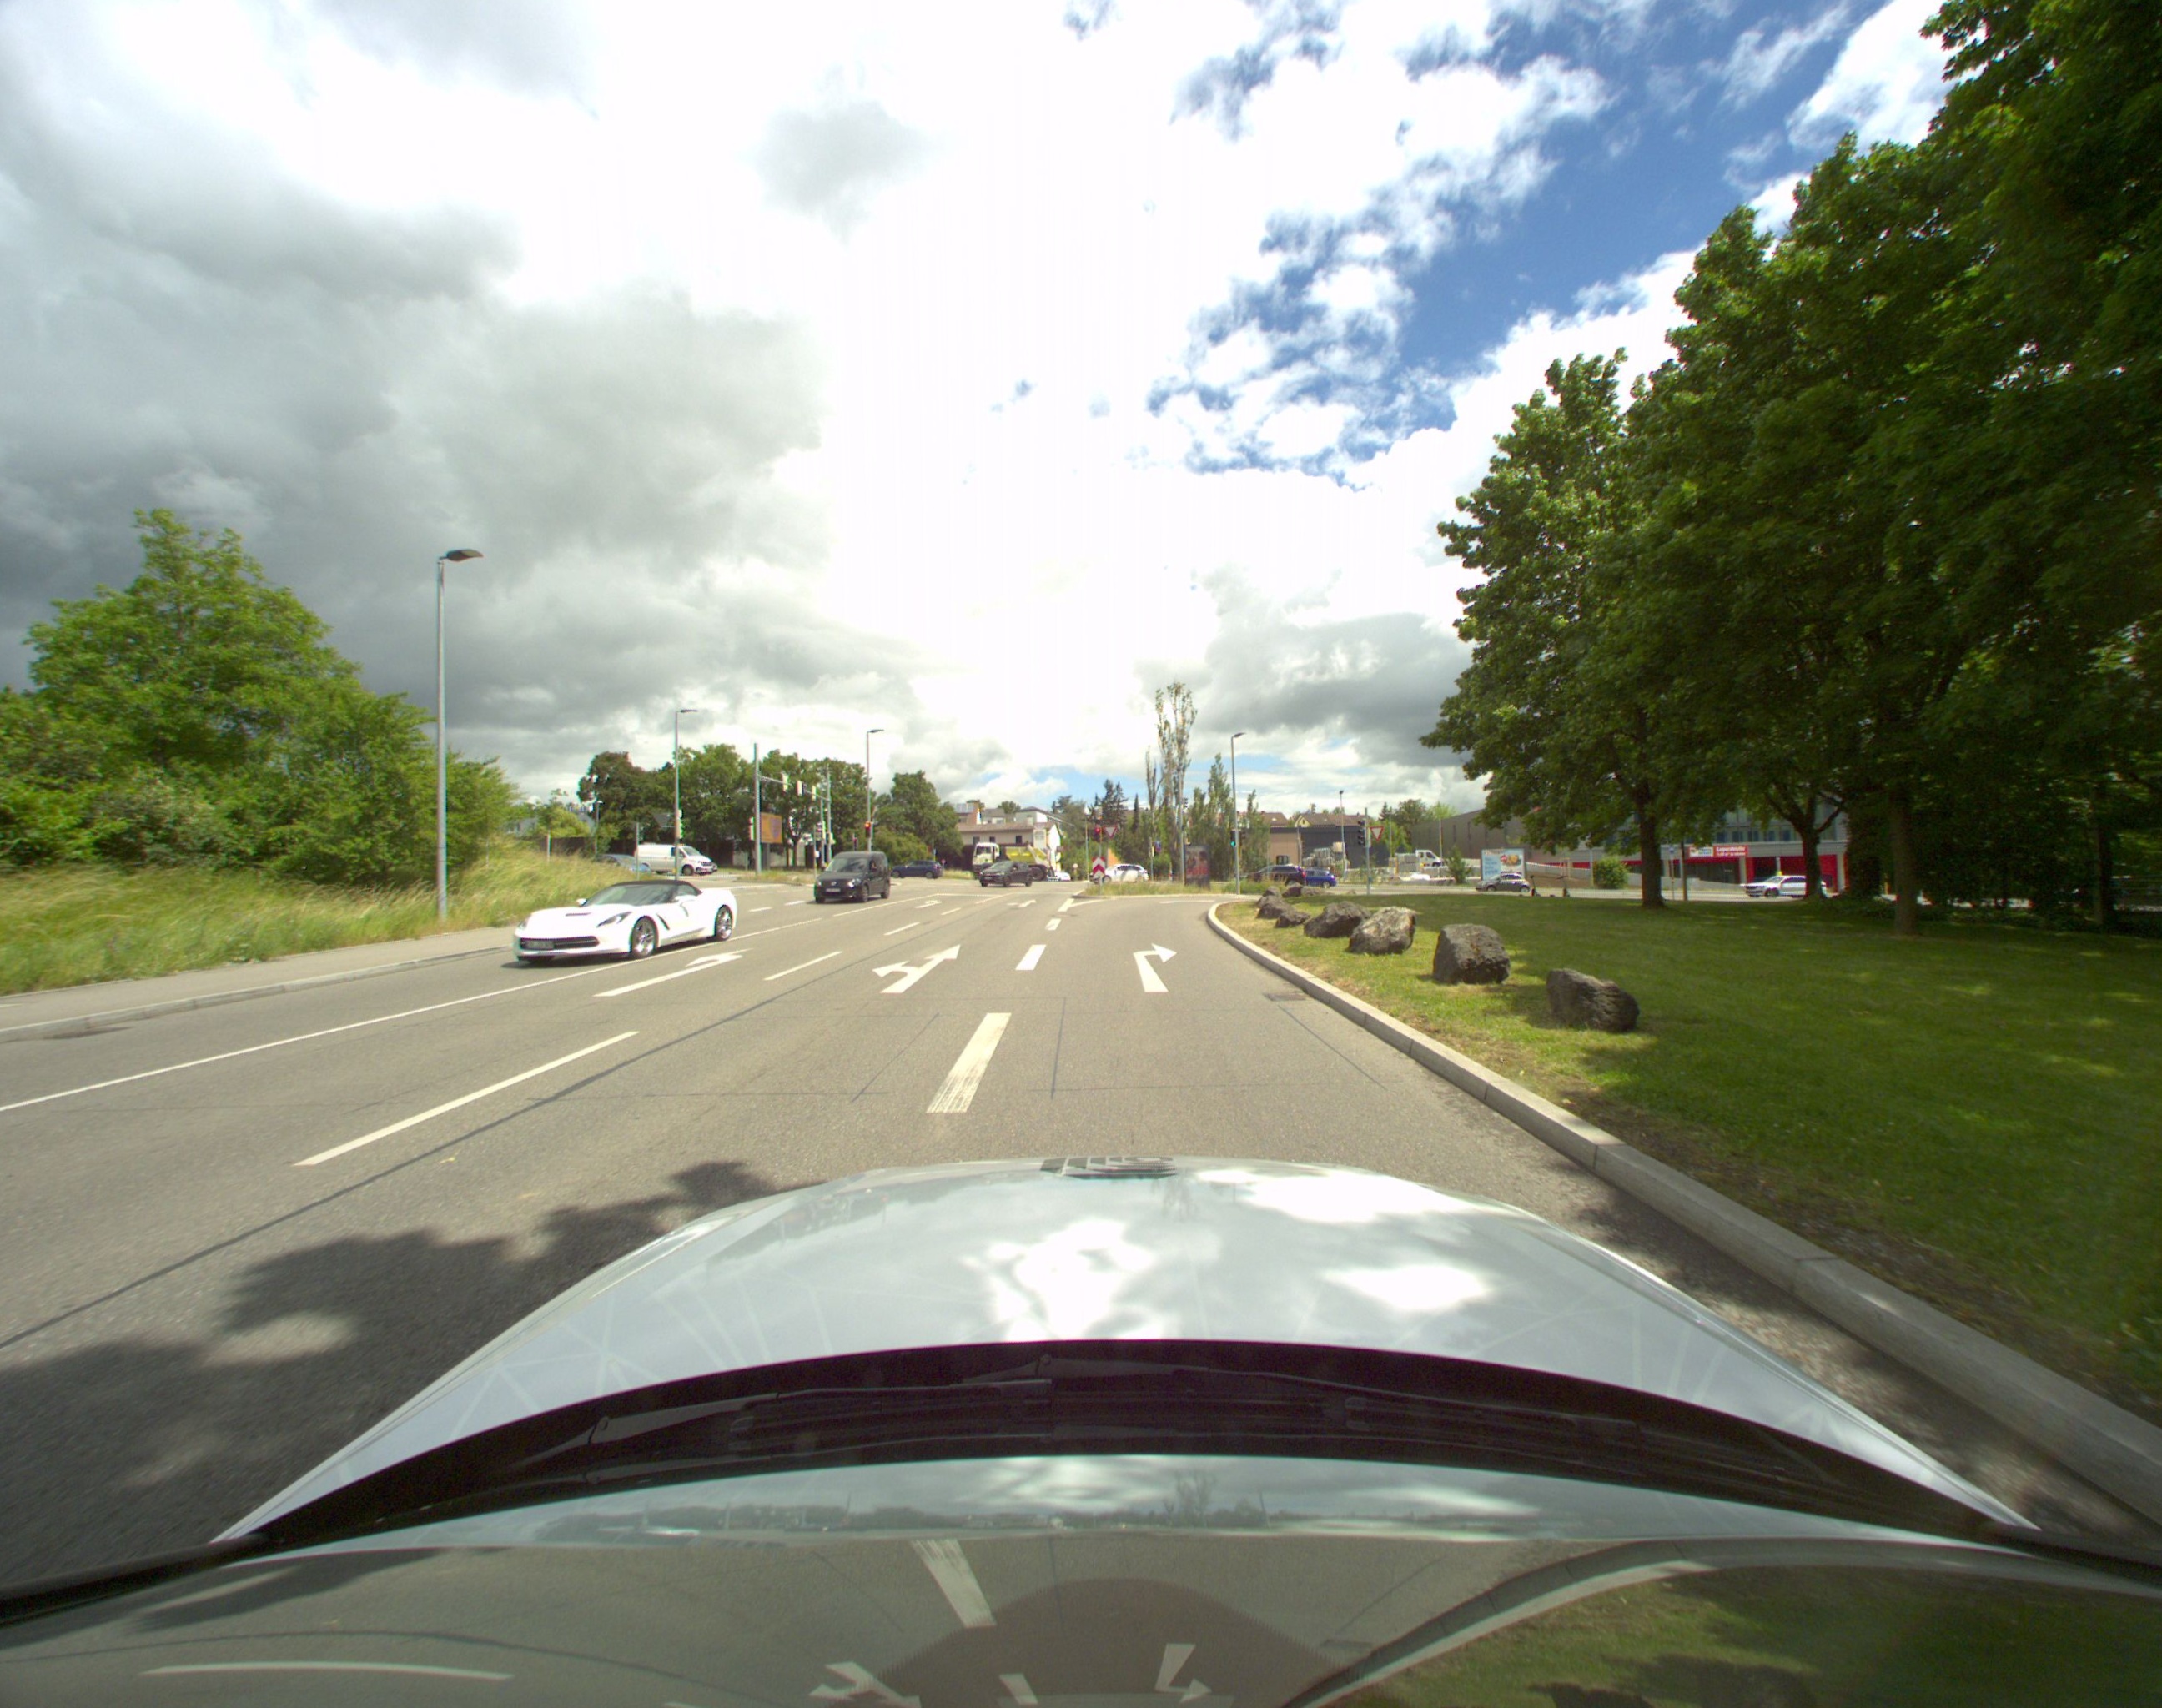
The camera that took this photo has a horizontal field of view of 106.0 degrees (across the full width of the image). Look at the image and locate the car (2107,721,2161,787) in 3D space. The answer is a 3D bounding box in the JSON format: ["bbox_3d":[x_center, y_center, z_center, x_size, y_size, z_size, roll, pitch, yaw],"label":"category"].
[{"bbox_3d":[28.567,-2.584,20.084,3.657,1.541,1.738,-2,1,25],"label":"car"}]

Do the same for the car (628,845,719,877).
[{"bbox_3d":[-26.558,0.453,53.202,4.936,1.937,1.912,2,-1,2],"label":"car"}]

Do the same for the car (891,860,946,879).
[{"bbox_3d":[-13.048,1.245,65.497,3.968,1.400,1.699,1,-1,4],"label":"car"}]

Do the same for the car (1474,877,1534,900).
[{"bbox_3d":[30.316,2.443,58.455,3.493,1.460,1.589,-2,-1,7],"label":"car"}]

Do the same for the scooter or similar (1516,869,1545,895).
[{"bbox_3d":[21.944,1.372,39.754,1.189,1.264,0.531,2,-3,-18],"label":"scooter or similar"}]

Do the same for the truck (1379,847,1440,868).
[{"bbox_3d":[39.013,0.442,96.802,6.503,2.146,2.010,-4,-2,20],"label":"truck"}]

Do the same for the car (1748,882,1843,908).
[{"bbox_3d":[49.552,2.829,56.533,4.861,1.659,1.736,0,-1,5],"label":"car"}]

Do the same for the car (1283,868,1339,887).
[{"bbox_3d":[17.763,1.805,63.076,3.968,1.400,1.699,1,-1,4],"label":"car"}]

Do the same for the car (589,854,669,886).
[{"bbox_3d":[-25.546,0.887,45.988,4.391,1.637,1.922,1,-1,31],"label":"car"}]

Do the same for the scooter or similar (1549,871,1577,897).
[{"bbox_3d":[23.434,1.468,39.613,1.189,1.264,0.531,2,-3,-18],"label":"scooter or similar"}]

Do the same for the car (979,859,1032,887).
[{"bbox_3d":[-4.490,1.110,48.988,1.771,1.578,4.181,-1,-1,15],"label":"car"}]

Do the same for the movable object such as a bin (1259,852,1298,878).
[{"bbox_3d":[19.876,1.132,81.926,3.373,2.538,2.164,1,-1,23],"label":"movable object such as a bin"}]

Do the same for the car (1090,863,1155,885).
[{"bbox_3d":[2.978,1.416,58.505,4.378,1.469,1.611,2,0,-20],"label":"car"}]

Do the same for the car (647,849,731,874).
[{"bbox_3d":[-27.539,0.535,57.348,4.936,1.635,1.912,2,-1,2],"label":"car"}]

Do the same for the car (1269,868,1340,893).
[{"bbox_3d":[16.341,1.926,59.733,4.930,1.690,1.918,1,-1,14],"label":"car"}]

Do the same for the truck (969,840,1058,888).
[{"bbox_3d":[-5.615,0.839,68.547,6.913,3.579,2.850,-4,-2,4],"label":"truck"}]

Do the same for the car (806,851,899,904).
[{"bbox_3d":[-8.303,0.802,30.072,1.777,1.779,4.816,-1,0,4],"label":"car"}]

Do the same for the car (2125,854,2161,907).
[{"bbox_3d":[28.740,0.616,19.770,3.751,1.292,1.787,-2,-1,25],"label":"car"}]

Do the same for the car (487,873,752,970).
[{"bbox_3d":[-7.808,1.058,14.426,1.897,1.291,4.611,-2,-1,2],"label":"car"}]

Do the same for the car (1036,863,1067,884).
[{"bbox_3d":[-3.145,2.015,84.881,2.001,2.014,3.972,-3,-2,-20],"label":"car"}]
